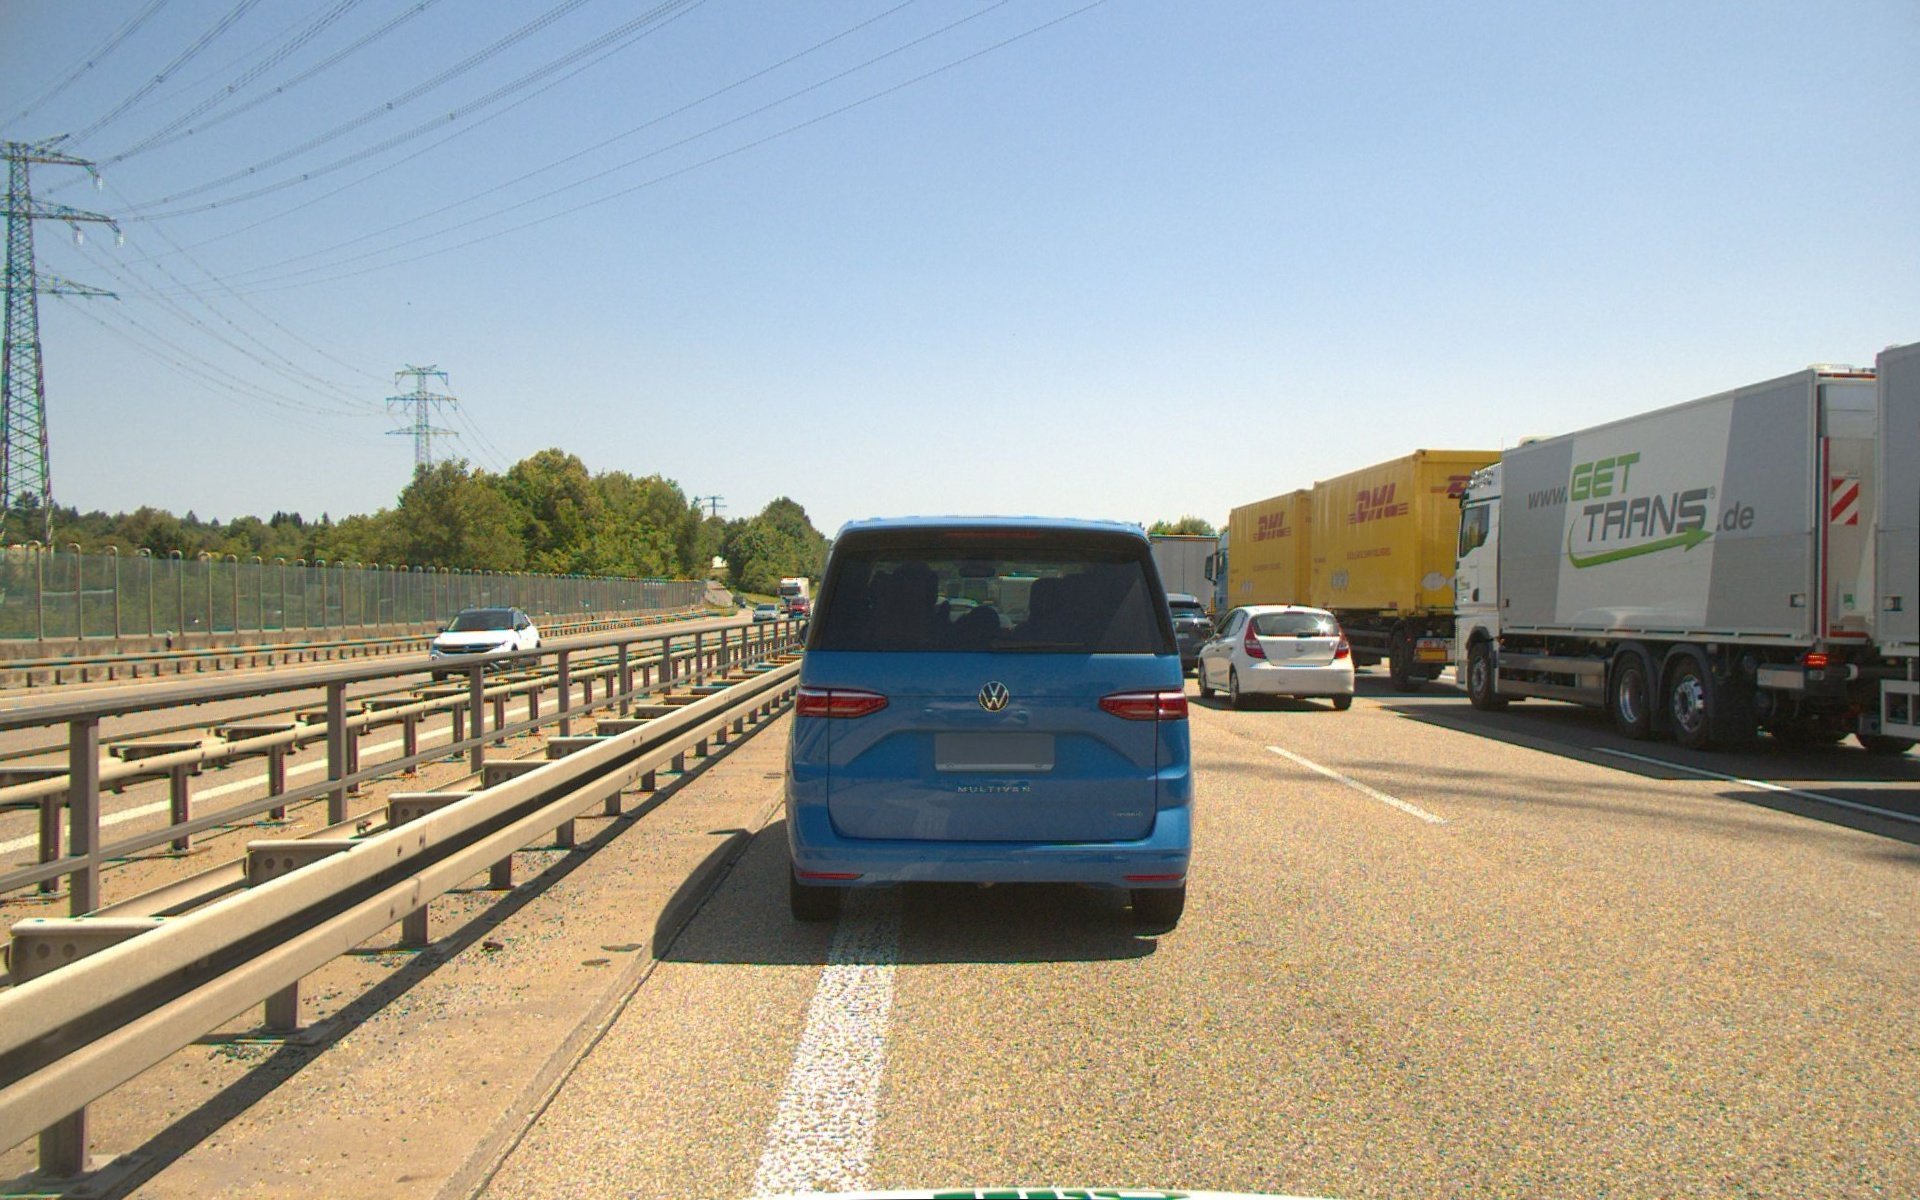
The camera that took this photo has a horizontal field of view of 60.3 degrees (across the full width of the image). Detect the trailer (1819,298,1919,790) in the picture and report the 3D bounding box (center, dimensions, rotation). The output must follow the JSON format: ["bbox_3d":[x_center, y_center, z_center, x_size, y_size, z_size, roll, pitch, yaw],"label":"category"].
[{"bbox_3d":[9.171,-0.459,10.695,2.840,3.959,8.212,1,-1,-1],"label":"trailer"}]

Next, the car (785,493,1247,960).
[{"bbox_3d":[0.214,0.545,8.866,1.891,1.906,3.999,1,-1,-1],"label":"car"}]

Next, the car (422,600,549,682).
[{"bbox_3d":[-10.583,0.889,37.181,1.770,1.668,3.998,-2,-1,-2],"label":"car"}]

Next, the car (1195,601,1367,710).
[{"bbox_3d":[4.800,0.800,25.261,1.778,1.496,3.931,1,-1,-1],"label":"car"}]

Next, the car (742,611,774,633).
[{"bbox_3d":[-14.521,1.550,119.165,1.834,1.467,4.384,-2,0,-1],"label":"car"}]

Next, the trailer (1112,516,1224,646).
[{"bbox_3d":[8.104,-0.653,65.782,2.964,4.692,10.923,1,-1,0],"label":"trailer"}]

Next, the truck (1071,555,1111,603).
[{"bbox_3d":[7.156,-1.126,90.675,1.761,2.492,4.503,1,-1,0],"label":"truck"}]

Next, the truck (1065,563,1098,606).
[{"bbox_3d":[7.665,-0.959,104.591,1.760,2.641,4.305,1,-1,0],"label":"truck"}]

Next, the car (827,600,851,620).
[{"bbox_3d":[-10.685,0.913,146.041,1.834,1.556,3.607,-5,0,-1],"label":"car"}]

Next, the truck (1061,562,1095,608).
[{"bbox_3d":[7.073,-0.872,99.256,1.706,2.593,4.209,1,-1,0],"label":"truck"}]

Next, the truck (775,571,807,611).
[{"bbox_3d":[-19.666,-0.987,192.885,2.869,4.368,6.857,-3,-1,0],"label":"truck"}]

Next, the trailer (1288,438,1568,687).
[{"bbox_3d":[8.797,-0.585,32.373,2.628,4.159,8.976,1,-1,-2],"label":"trailer"}]

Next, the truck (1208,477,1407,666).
[{"bbox_3d":[8.484,-0.580,41.809,2.645,4.159,9.936,1,-1,-2],"label":"truck"}]

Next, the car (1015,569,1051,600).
[{"bbox_3d":[4.371,-0.900,99.494,1.880,1.736,3.999,1,-1,-1],"label":"car"}]

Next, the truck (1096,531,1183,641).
[{"bbox_3d":[8.066,-0.571,75.203,2.964,4.692,7.920,1,-1,0],"label":"truck"}]

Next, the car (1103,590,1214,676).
[{"bbox_3d":[4.166,0.684,35.283,1.778,1.708,3.930,1,-1,-2],"label":"car"}]

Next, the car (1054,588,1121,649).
[{"bbox_3d":[4.325,0.633,56.647,1.922,1.970,3.931,1,-1,-1],"label":"car"}]

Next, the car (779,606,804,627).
[{"bbox_3d":[-15.320,1.475,150.444,1.802,1.854,4.746,-1,-1,-1],"label":"car"}]

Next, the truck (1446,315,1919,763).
[{"bbox_3d":[8.981,-0.479,20.158,2.794,4.003,10.607,1,-1,-1],"label":"truck"}]

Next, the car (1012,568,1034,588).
[{"bbox_3d":[5.816,-2.007,152.922,1.760,1.782,3.942,1,-1,0],"label":"car"}]
